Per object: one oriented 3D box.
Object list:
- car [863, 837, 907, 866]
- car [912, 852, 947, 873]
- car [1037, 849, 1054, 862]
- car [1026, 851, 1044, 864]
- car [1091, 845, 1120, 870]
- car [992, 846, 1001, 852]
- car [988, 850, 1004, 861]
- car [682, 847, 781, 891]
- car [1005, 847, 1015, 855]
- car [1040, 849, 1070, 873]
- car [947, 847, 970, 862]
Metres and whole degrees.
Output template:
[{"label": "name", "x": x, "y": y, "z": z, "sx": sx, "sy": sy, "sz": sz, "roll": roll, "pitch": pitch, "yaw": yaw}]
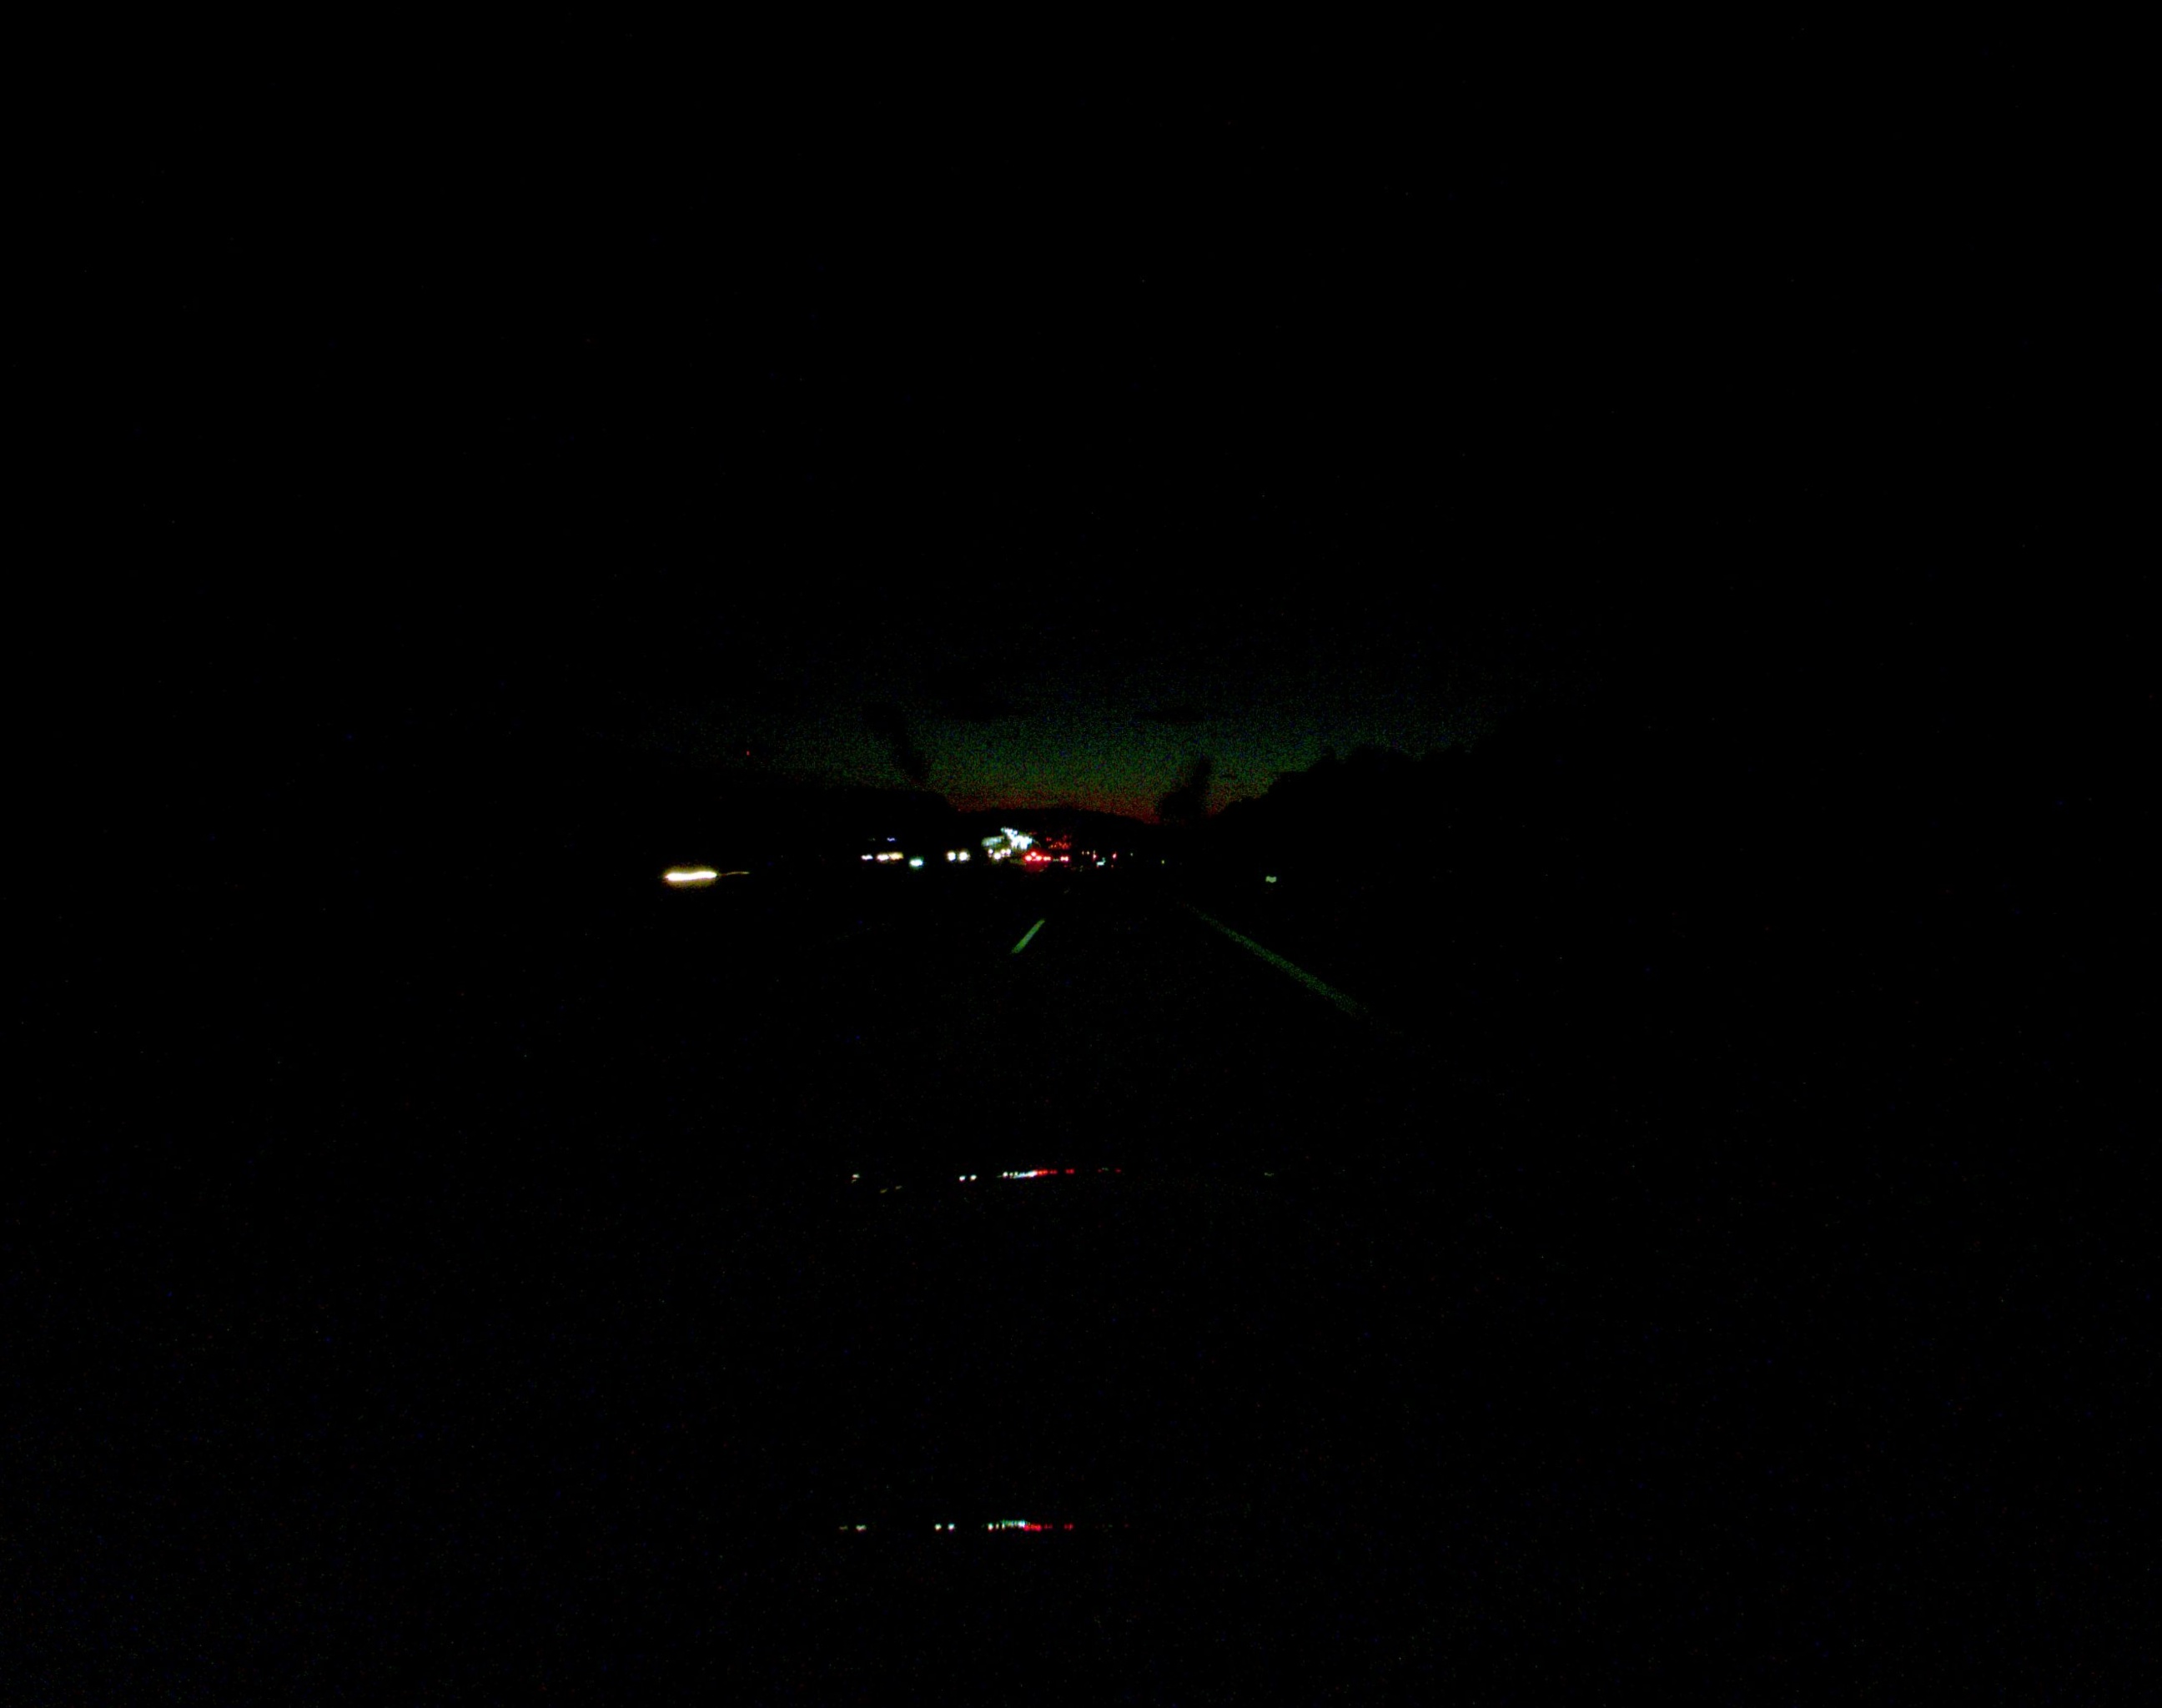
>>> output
[{"label": "car", "x": -20.419, "y": -0.237, "z": 85.228, "sx": 2.449, "sy": 2.936, "sz": 8.334, "roll": 0, "pitch": 0, "yaw": 1}, {"label": "car", "x": -13.198, "y": 0.724, "z": 71.240, "sx": 1.986, "sy": 1.734, "sz": 4.661, "roll": 0, "pitch": 0, "yaw": 2}, {"label": "car", "x": -4.784, "y": 0.208, "z": 109.603, "sx": 1.773, "sy": 1.486, "sz": 5.257, "roll": 2, "pitch": 1, "yaw": 2}, {"label": "car", "x": -5.162, "y": 0.367, "z": 92.540, "sx": 1.544, "sy": 1.431, "sz": 5.516, "roll": -1, "pitch": 0, "yaw": 1}, {"label": "car", "x": 2.028, "y": 0.252, "z": 68.835, "sx": 2.190, "sy": 1.955, "sz": 4.762, "roll": -1, "pitch": 1, "yaw": 0}, {"label": "car", "x": -21.793, "y": -1.201, "z": 209.237, "sx": 1.768, "sy": 1.429, "sz": 4.660, "roll": 0, "pitch": 0, "yaw": 1}, {"label": "car", "x": -13.838, "y": 0.208, "z": 133.133, "sx": 1.986, "sy": 1.734, "sz": 4.660, "roll": 0, "pitch": 0, "yaw": 1}, {"label": "car", "x": -14.497, "y": 0.573, "z": 34.084, "sx": 1.986, "sy": 1.734, "sz": 4.661, "roll": 0, "pitch": 0, "yaw": 2}, {"label": "car", "x": -17.016, "y": -0.703, "z": 195.613, "sx": 2.097, "sy": 1.885, "sz": 4.660, "roll": 0, "pitch": 0, "yaw": 1}, {"label": "car", "x": -1.935, "y": 0.500, "z": 62.339, "sx": 1.987, "sy": 1.721, "sz": 5.942, "roll": -1, "pitch": 0, "yaw": 0}, {"label": "car", "x": -16.114, "y": 0.047, "z": 107.425, "sx": 2.137, "sy": 1.885, "sz": 5.425, "roll": 0, "pitch": 0, "yaw": 1}]
